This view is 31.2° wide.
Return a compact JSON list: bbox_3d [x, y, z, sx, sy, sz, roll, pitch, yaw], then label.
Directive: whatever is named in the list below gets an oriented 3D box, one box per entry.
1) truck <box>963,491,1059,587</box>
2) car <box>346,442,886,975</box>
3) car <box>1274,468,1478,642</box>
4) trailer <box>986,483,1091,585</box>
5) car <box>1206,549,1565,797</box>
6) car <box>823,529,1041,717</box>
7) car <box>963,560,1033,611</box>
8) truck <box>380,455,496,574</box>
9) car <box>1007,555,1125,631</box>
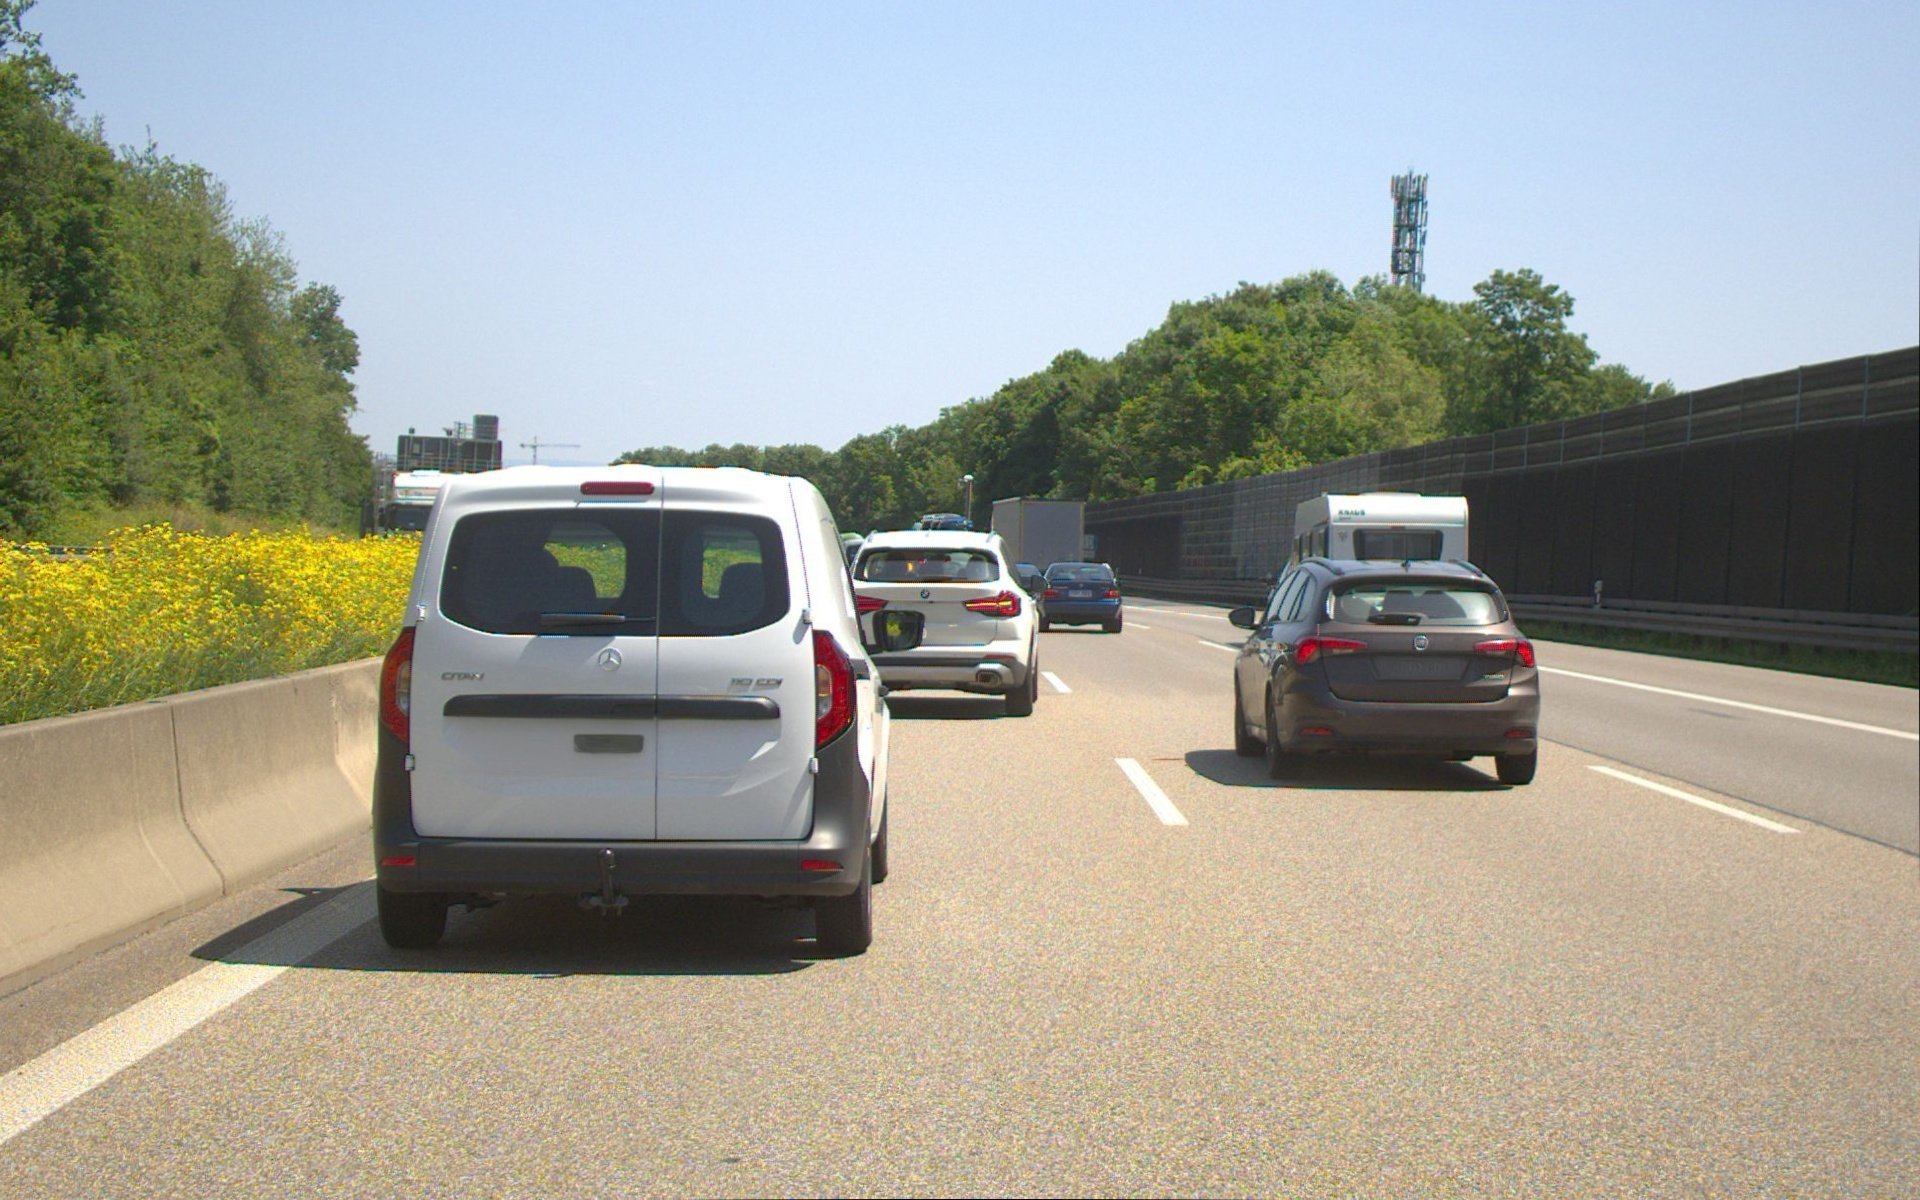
[{"bbox_3d":[2.141,-2.586,148.535,3.081,3.972,9.648,1,0,-5],"label":"truck"},{"bbox_3d":[-1.226,0.353,13.824,1.802,1.802,4.000,1,1,-1],"label":"car"},{"bbox_3d":[6.983,-0.748,58.471,2.478,2.756,6.220,1,0,-2],"label":"car"},{"bbox_3d":[3.142,-2.660,141.023,3.081,3.972,10.325,1,0,-5],"label":"trailer"},{"bbox_3d":[2.846,0.429,23.919,1.838,1.508,4.402,2,1,-1],"label":"car"},{"bbox_3d":[-0.281,0.168,32.176,1.871,1.603,3.879,2,1,-1],"label":"car"},{"bbox_3d":[1.079,-0.427,99.556,1.824,1.419,4.000,1,0,-2],"label":"car"},{"bbox_3d":[-17.685,-2.873,117.028,2.748,3.844,8.414,1,1,-1],"label":"truck"},{"bbox_3d":[2.062,-0.147,67.911,1.824,1.419,4.001,1,0,-5],"label":"car"}]
